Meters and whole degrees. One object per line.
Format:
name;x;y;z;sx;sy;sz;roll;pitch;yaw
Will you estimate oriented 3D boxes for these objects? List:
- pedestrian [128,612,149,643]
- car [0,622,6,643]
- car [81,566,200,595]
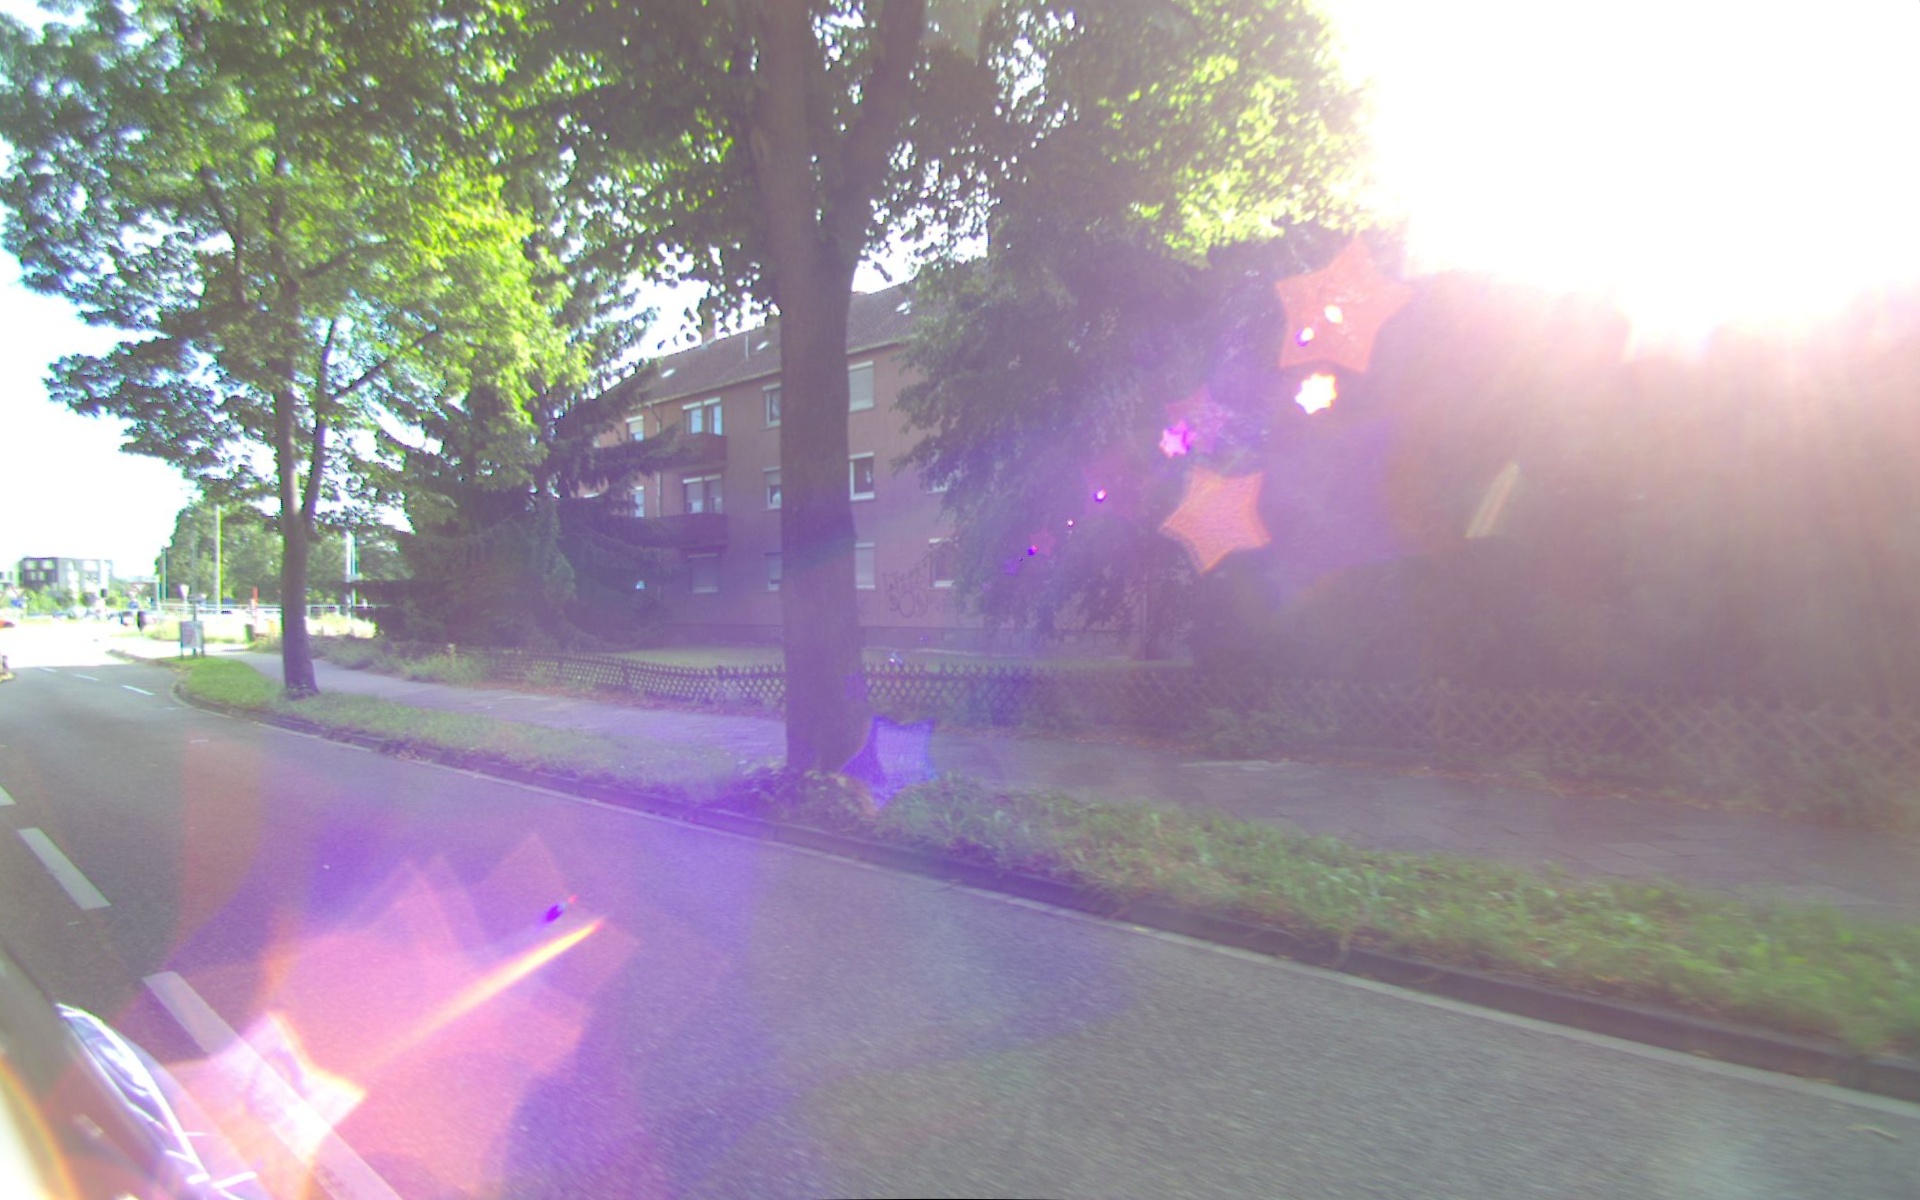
pedestrian;-51.040;1.706;62.863;0.740;1.838;0.705;-1;0;21
car;-74.018;2.476;74.703;2.298;1.535;4.817;0;1;32
car;-57.102;-1.362;70.608;6.161;1.881;2.479;-1;1;-2
